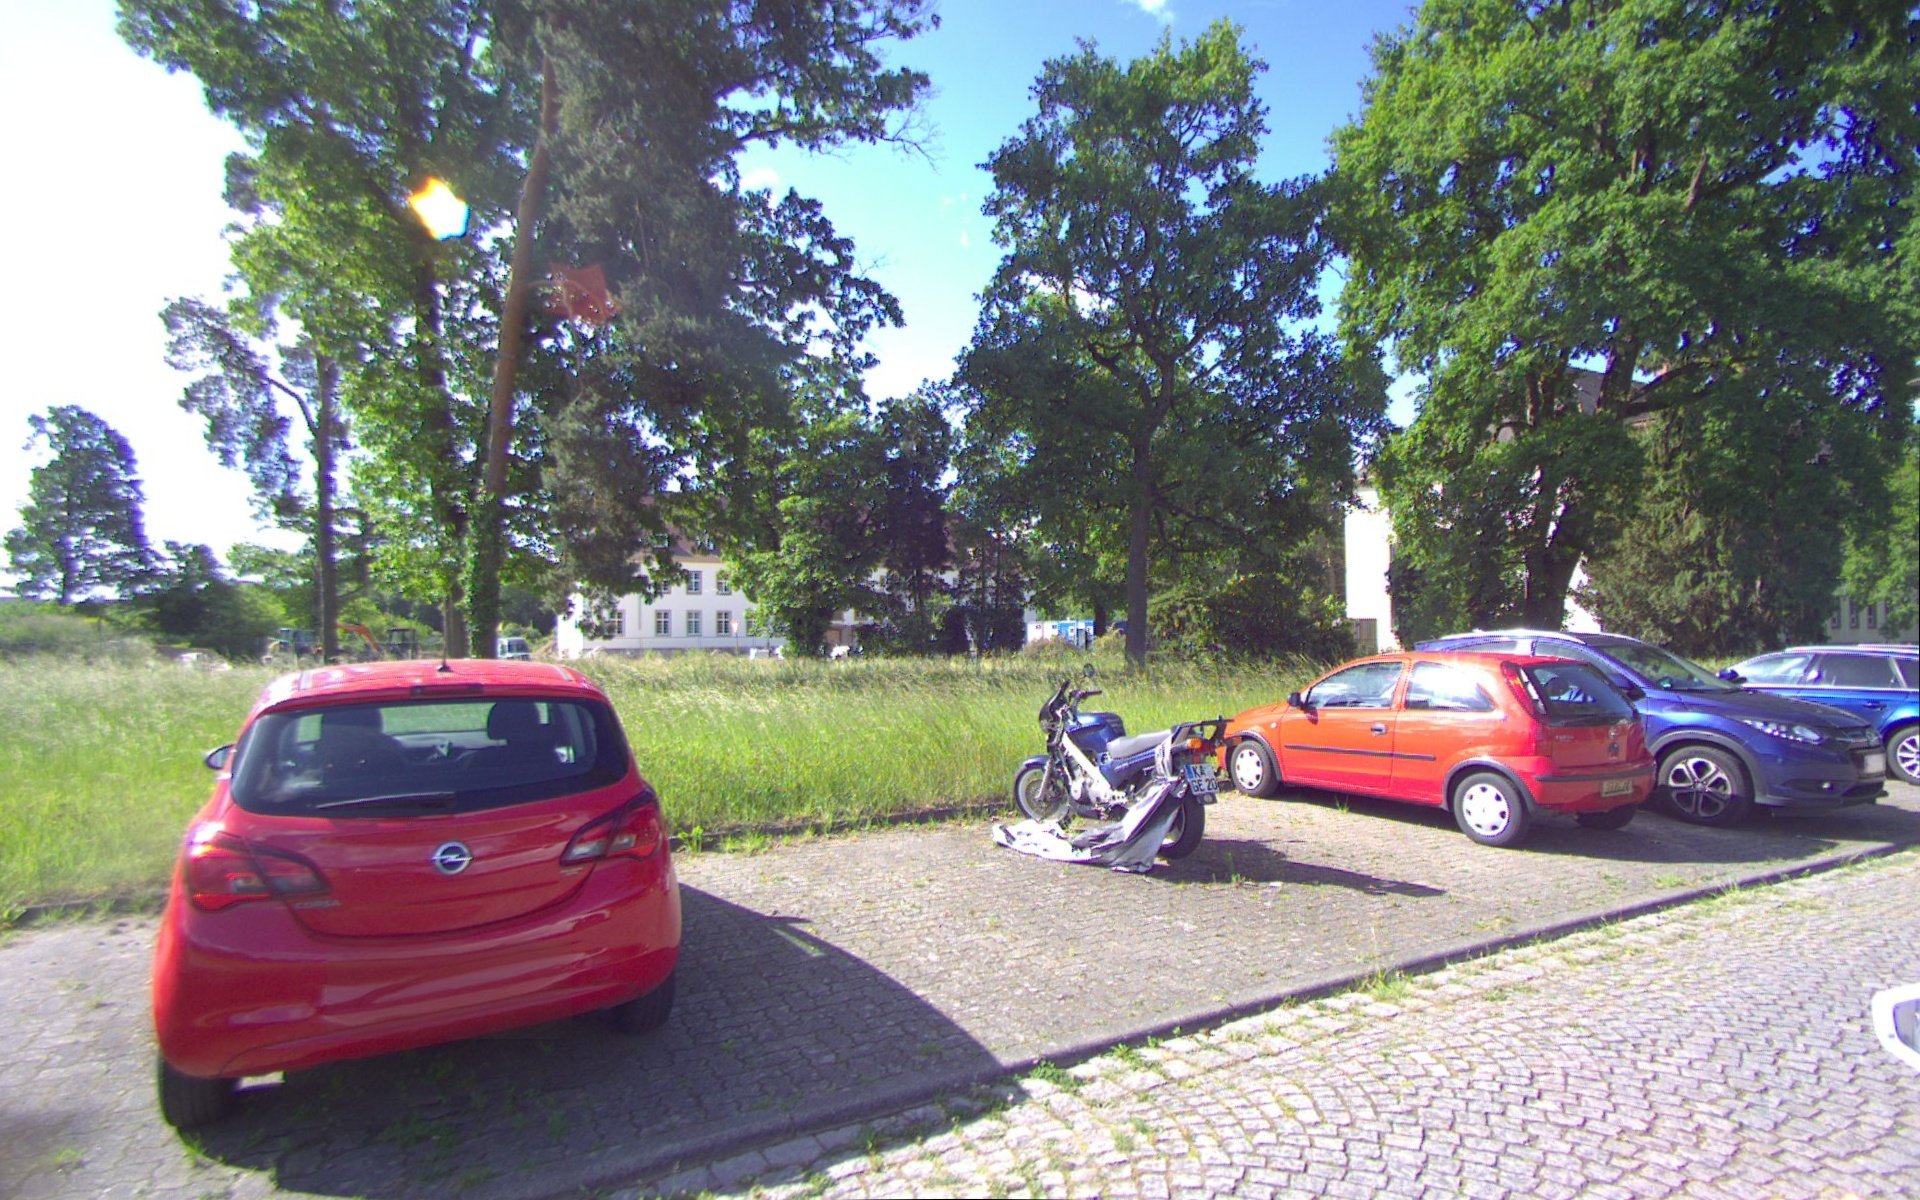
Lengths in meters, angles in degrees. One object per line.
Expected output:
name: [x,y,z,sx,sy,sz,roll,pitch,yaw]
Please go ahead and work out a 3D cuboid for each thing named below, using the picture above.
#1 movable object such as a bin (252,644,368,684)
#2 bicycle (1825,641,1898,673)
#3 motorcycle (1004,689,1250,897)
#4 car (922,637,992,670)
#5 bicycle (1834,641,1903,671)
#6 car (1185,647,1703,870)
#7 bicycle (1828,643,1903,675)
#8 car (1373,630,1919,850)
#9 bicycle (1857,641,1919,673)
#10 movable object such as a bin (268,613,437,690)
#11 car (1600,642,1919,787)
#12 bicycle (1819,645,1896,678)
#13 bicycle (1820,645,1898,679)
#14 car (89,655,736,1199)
movable object such as a bin: [-36.726,3.633,56.801,5.566,2.153,2.530,-2,-3,17]
bicycle: [33.062,2.100,36.852,1.887,1.117,0.569,-2,-1,34]
motorcycle: [1.122,1.304,7.409,0.569,1.177,2.234,1,-2,-27]
car: [-0.227,4.167,78.653,5.211,2.468,1.976,1,-3,-29]
bicycle: [34.946,2.164,38.659,1.889,1.117,0.568,-2,-1,38]
car: [4.032,1.192,9.074,1.818,1.451,3.909,0,-2,-27]
bicycle: [32.197,2.100,35.750,1.887,1.117,0.569,-2,-1,34]
car: [6.362,1.119,9.736,1.861,1.600,4.118,0,-2,-29]
bicycle: [34.246,2.086,36.910,1.892,1.117,0.567,-3,-1,43]
movable object such as a bin: [-32.189,2.745,53.458,3.869,3.779,6.766,-3,-3,37]
car: [10.407,1.266,11.979,1.895,1.464,4.346,0,-2,-26]
bicycle: [30.924,2.125,34.655,1.889,1.117,0.568,-3,-2,37]
bicycle: [30.600,2.116,34.224,1.889,1.117,0.568,-3,-2,37]
car: [-2.581,1.079,4.924,1.820,1.480,3.905,0,-1,-30]
